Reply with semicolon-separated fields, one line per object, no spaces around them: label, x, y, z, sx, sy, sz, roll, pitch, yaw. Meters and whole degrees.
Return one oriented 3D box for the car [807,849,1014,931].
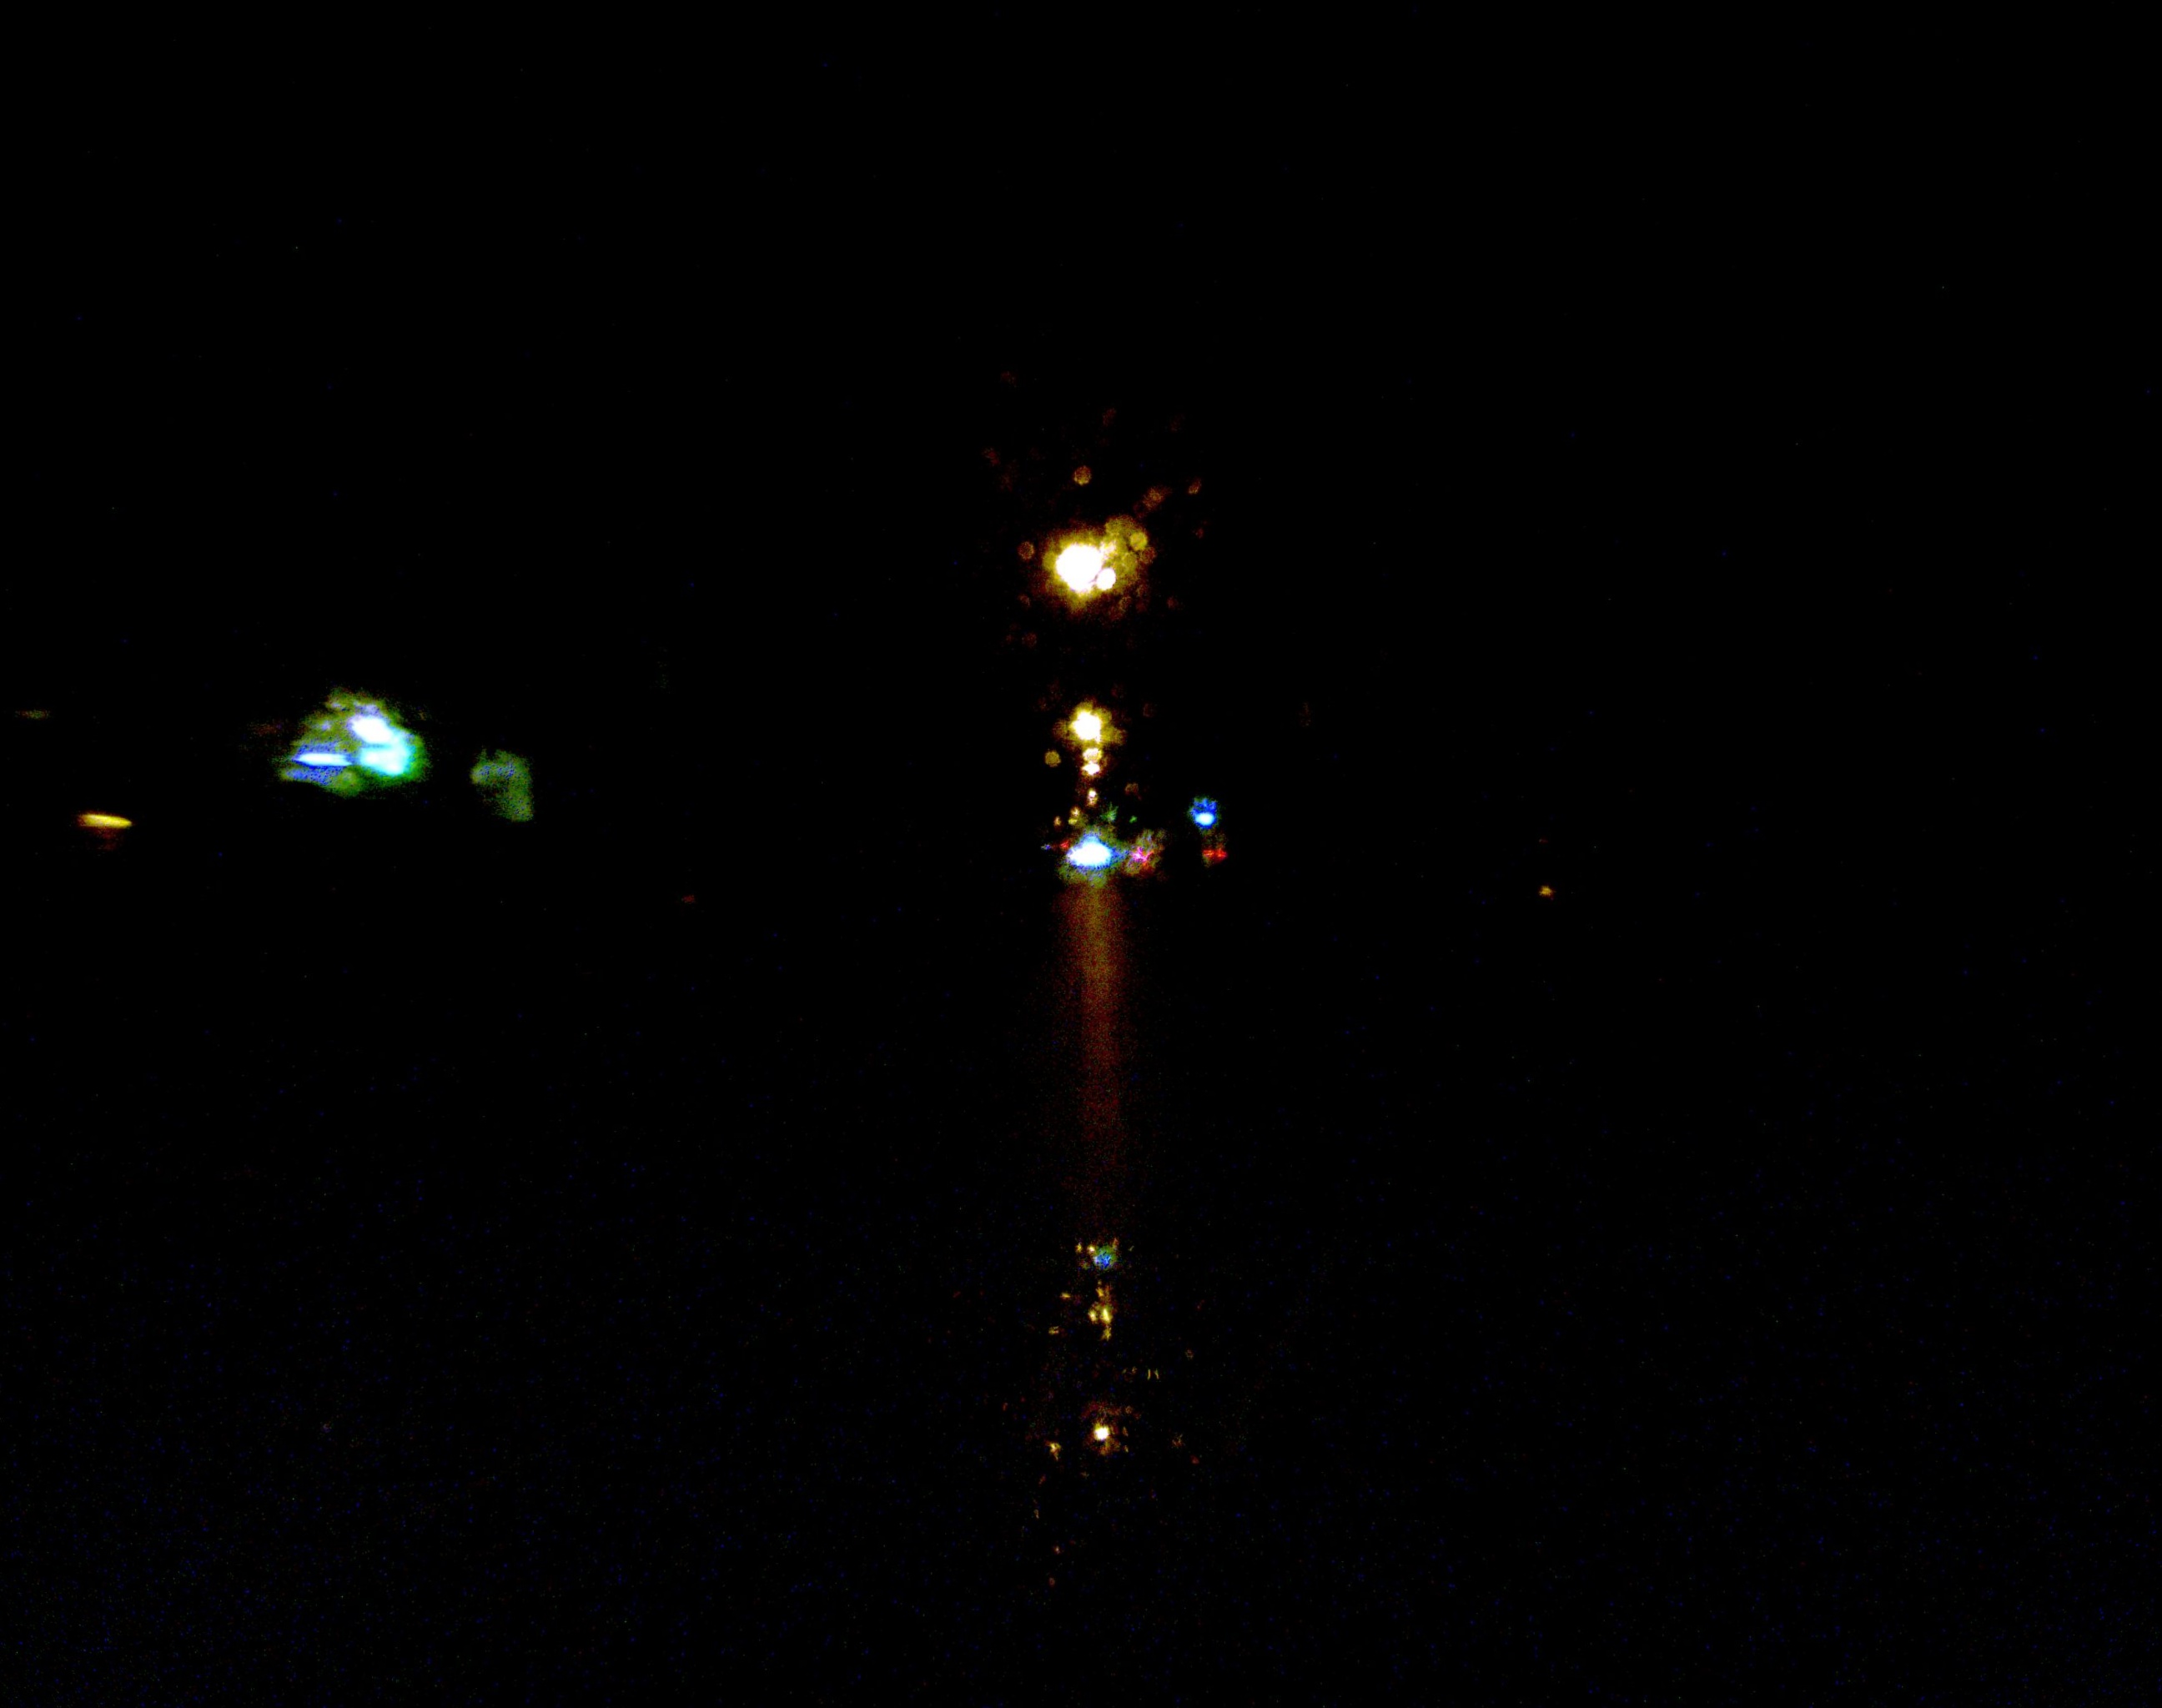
car;-3.604;0.704;16.230;3.941;1.541;1.739;1;1;-33

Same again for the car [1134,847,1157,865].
car;5.991;0.206;71.173;1.851;1.571;3.734;-2;1;1

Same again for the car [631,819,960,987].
car;-3.876;0.573;10.572;3.942;1.931;1.738;1;1;-36

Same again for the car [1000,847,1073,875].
car;-2.649;0.398;45.012;3.939;1.553;1.707;1;1;-22

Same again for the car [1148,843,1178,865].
car;6.218;0.007;57.936;1.851;1.571;3.734;-2;1;1

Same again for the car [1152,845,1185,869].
car;5.965;0.172;52.022;1.851;1.470;3.734;-2;1;1

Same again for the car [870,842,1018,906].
car;-3.958;0.563;21.902;3.938;1.732;1.707;1;1;-21

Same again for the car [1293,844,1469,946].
car;5.010;0.599;13.254;1.720;1.470;3.786;-2;1;3

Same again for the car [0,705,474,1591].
car;-3.904;0.643;1.768;3.747;2.017;1.717;1;1;-34

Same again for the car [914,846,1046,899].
car;-3.281;0.575;24.588;3.938;1.610;1.707;1;1;-21

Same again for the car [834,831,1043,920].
car;-3.515;0.501;18.931;4.719;1.969;1.975;1;1;-28

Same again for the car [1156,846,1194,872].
car;5.679;0.282;46.341;1.851;1.470;3.734;-2;1;1

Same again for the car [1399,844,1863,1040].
car;5.096;0.651;7.901;1.721;1.470;4.158;-1;1;-2

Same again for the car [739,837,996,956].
car;-3.657;0.653;13.277;3.942;1.782;1.738;1;1;-36

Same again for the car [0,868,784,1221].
car;-3.906;0.840;4.574;3.712;1.444;1.654;1;1;-31

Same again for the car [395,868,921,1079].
car;-3.813;0.915;7.429;4.064;1.444;1.674;-1;1;-34

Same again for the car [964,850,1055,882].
car;-3.401;0.566;36.151;3.939;1.455;1.707;1;1;-22

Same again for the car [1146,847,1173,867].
car;6.447;0.198;63.025;1.851;1.571;3.734;-2;1;1
